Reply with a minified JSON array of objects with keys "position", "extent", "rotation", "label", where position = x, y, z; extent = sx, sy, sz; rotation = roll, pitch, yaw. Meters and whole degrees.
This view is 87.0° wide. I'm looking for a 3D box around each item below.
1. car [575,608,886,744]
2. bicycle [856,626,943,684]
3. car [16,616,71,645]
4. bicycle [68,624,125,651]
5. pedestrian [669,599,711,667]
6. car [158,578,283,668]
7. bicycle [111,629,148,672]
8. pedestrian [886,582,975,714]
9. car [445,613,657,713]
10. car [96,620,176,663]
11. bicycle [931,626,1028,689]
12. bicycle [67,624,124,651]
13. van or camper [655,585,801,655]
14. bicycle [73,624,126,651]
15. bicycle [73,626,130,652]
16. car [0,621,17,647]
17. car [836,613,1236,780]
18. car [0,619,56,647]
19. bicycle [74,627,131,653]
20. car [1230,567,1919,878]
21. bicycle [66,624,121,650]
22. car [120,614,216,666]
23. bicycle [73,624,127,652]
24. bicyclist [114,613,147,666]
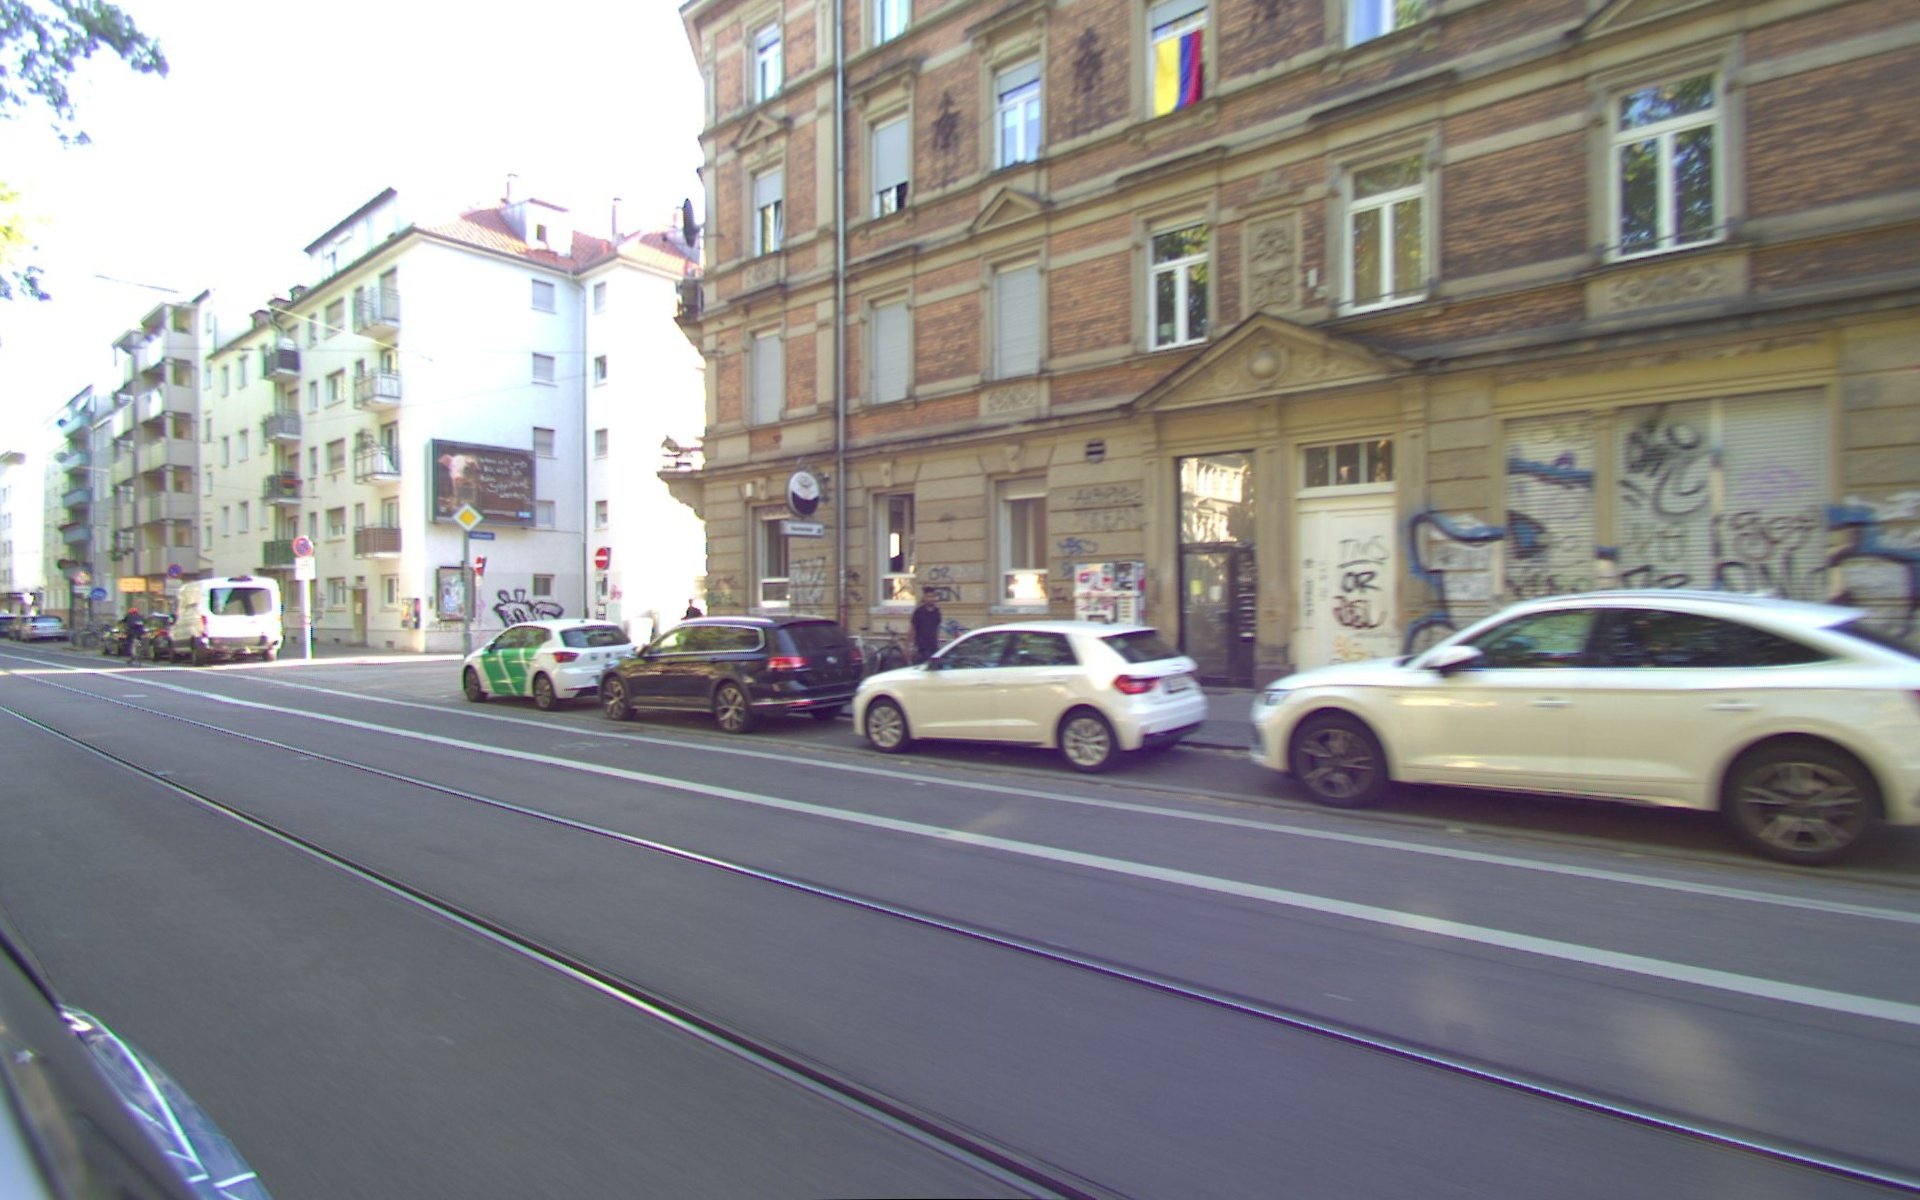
[{"position":[-3.377,0.936,14.289],"extent":[4.782,1.574,1.723],"rotation":[-1,1,40],"label":"car"},{"position":[-1.158,1.011,19.043],"extent":[1.846,1.042,0.368],"rotation":[-1,-1,38],"label":"bicycle"},{"position":[-49.256,1.600,54.378],"extent":[4.726,1.502,1.672],"rotation":[-1,-1,42],"label":"car"},{"position":[-39.089,1.685,45.823],"extent":[1.945,1.127,0.425],"rotation":[-2,1,-43],"label":"bicycle"},{"position":[-7.185,0.869,26.944],"extent":[0.894,1.762,0.649],"rotation":[-3,-1,44],"label":"pedestrian"},{"position":[-22.867,0.679,31.186],"extent":[5.666,2.555,2.042],"rotation":[-1,-1,43],"label":"car"},{"position":[-23.804,1.428,28.996],"extent":[2.230,1.159,0.416],"rotation":[0,-1,40],"label":"bicycle"},{"position":[-0.428,0.666,14.527],"extent":[1.053,1.814,0.678],"rotation":[-1,0,32],"label":"pedestrian"},{"position":[-7.208,1.013,17.682],"extent":[4.041,1.503,1.723],"rotation":[-1,1,40],"label":"car"},{"position":[-31.157,1.520,38.206],"extent":[4.571,1.467,1.700],"rotation":[-1,-1,42],"label":"car"},{"position":[0.324,0.990,17.792],"extent":[1.846,1.042,0.368],"rotation":[-1,-1,38],"label":"bicycle"},{"position":[-39.436,1.690,46.166],"extent":[1.937,1.127,0.440],"rotation":[-2,1,-43],"label":"bicycle"},{"position":[-8.467,0.705,37.357],"extent":[2.021,2.405,5.048],"rotation":[-1,-1,41],"label":"van or camper"},{"position":[-38.573,1.678,45.370],"extent":[1.797,1.127,0.425],"rotation":[-2,1,-43],"label":"bicycle"},{"position":[-37.686,1.708,44.427],"extent":[1.871,1.045,0.402],"rotation":[-2,1,-43],"label":"bicycle"},{"position":[-61.593,2.176,64.497],"extent":[4.198,1.612,1.640],"rotation":[-1,1,40],"label":"car"},{"position":[0.715,0.890,10.840],"extent":[3.993,1.431,1.684],"rotation":[-1,1,37],"label":"car"},{"position":[-52.827,1.865,57.353],"extent":[4.236,1.502,1.776],"rotation":[-1,-1,40],"label":"car"},{"position":[-37.291,1.730,44.015],"extent":[1.871,1.045,0.402],"rotation":[-2,1,-43],"label":"bicycle"},{"position":[4.584,0.682,7.461],"extent":[4.716,1.736,1.768],"rotation":[-1,1,41],"label":"car"},{"position":[-39.829,1.695,46.536],"extent":[1.908,1.127,0.440],"rotation":[-2,1,-43],"label":"bicycle"},{"position":[-27.013,1.308,34.470],"extent":[4.343,1.644,1.701],"rotation":[-1,-1,40],"label":"car"},{"position":[-38.217,1.673,44.981],"extent":[1.768,1.127,0.425],"rotation":[-2,1,-43],"label":"bicycle"},{"position":[-23.735,1.120,28.972],"extent":[0.806,1.493,0.576],"rotation":[-1,-2,40],"label":"bicyclist"}]
